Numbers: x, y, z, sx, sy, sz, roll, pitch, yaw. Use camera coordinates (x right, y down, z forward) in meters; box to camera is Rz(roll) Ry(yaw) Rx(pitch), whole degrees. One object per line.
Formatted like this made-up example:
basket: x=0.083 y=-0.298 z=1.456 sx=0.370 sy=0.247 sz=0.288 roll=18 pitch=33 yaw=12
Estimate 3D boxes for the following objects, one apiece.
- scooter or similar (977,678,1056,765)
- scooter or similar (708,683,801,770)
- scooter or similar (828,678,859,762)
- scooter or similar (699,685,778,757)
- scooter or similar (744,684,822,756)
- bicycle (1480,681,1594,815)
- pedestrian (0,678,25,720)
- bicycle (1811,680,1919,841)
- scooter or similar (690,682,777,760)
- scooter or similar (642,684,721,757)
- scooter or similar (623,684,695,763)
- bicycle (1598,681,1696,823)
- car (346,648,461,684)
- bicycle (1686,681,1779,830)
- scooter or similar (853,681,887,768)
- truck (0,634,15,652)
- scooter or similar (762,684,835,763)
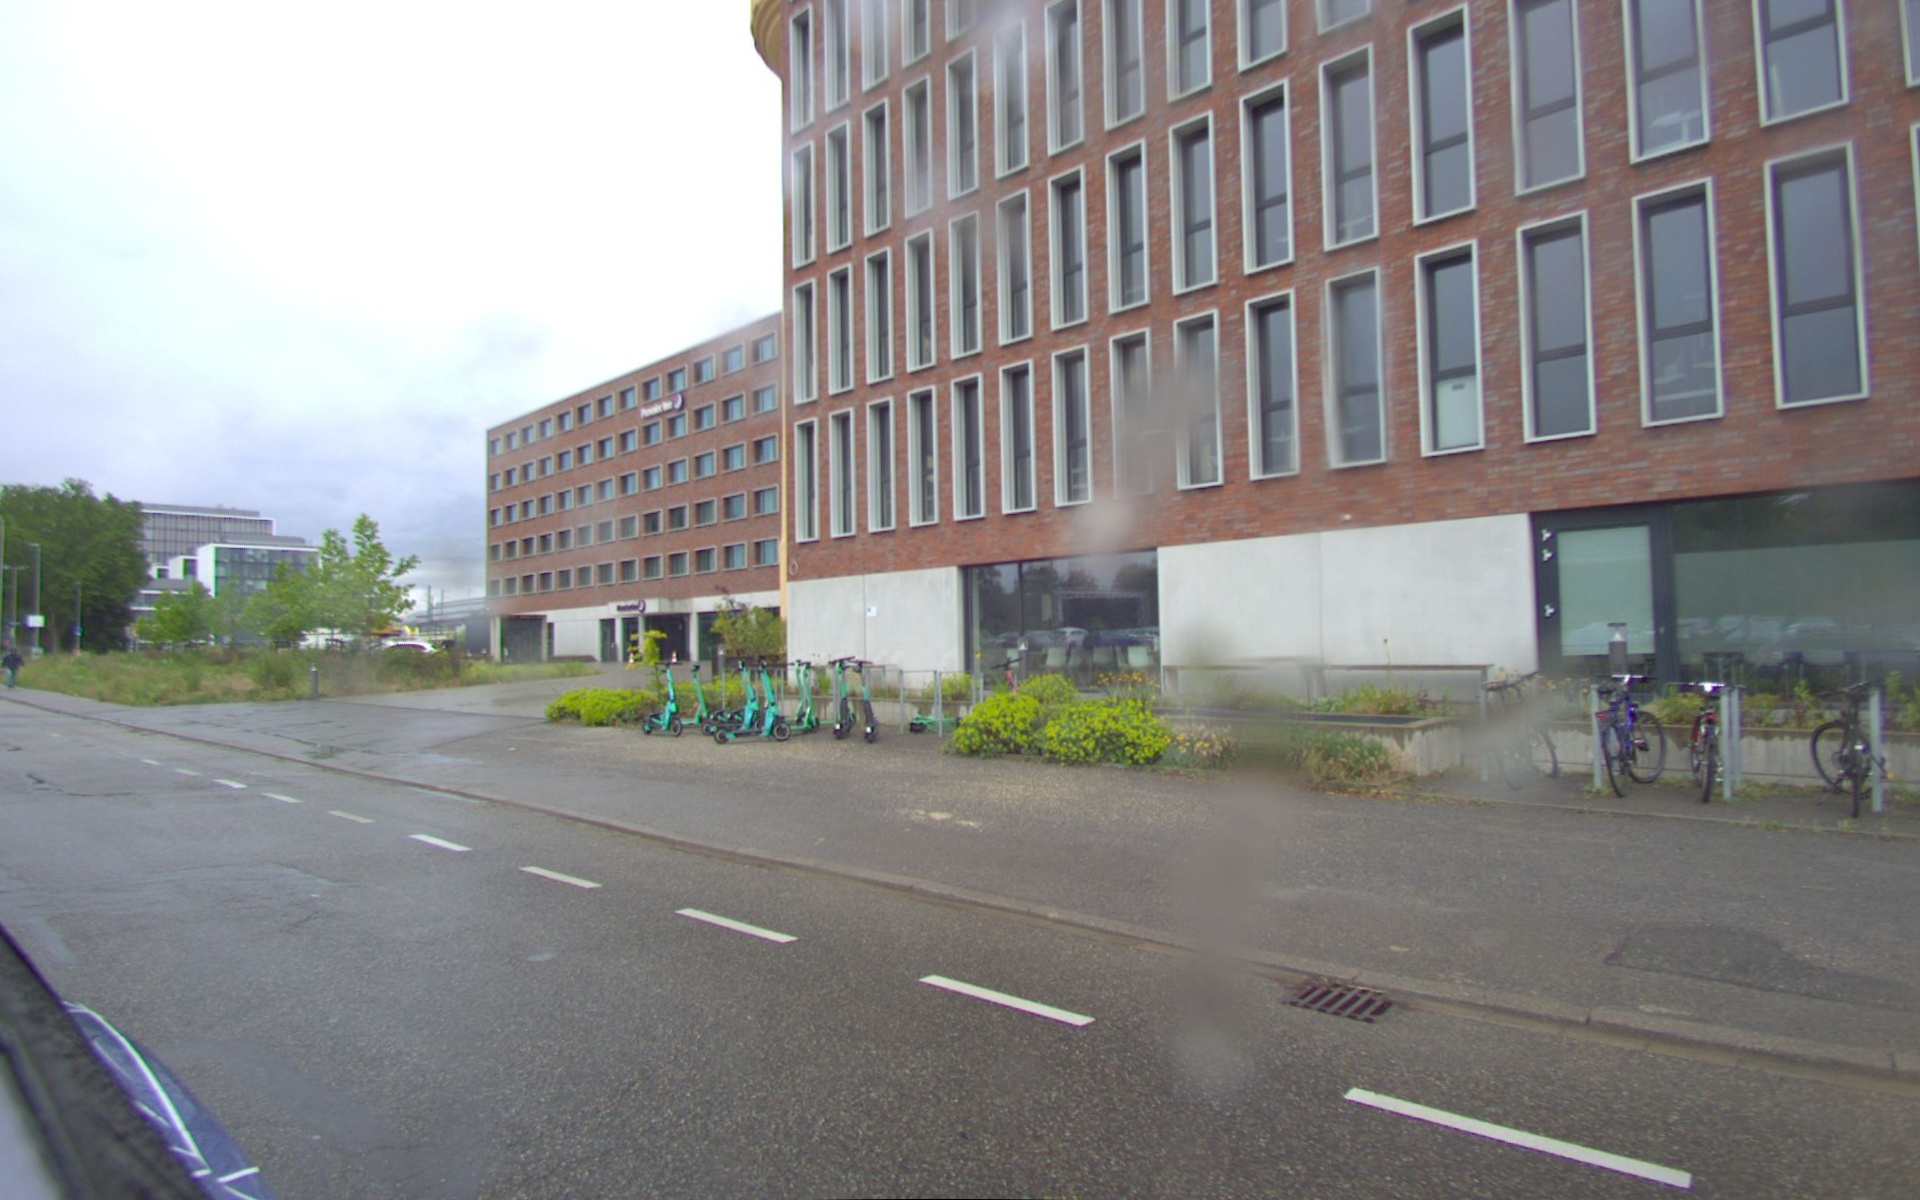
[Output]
scooter or similar: x=0.840 y=1.764 z=14.927 sx=1.211 sy=1.217 sz=0.418 roll=3 pitch=-6 yaw=-42
scooter or similar: x=-3.082 y=1.871 z=15.176 sx=1.298 sy=1.240 sz=0.469 roll=1 pitch=-5 yaw=-20
scooter or similar: x=-1.823 y=1.851 z=15.812 sx=0.460 sy=1.240 sz=1.209 roll=0 pitch=-4 yaw=-7
scooter or similar: x=-3.851 y=2.082 z=17.637 sx=1.301 sy=1.186 sz=0.468 roll=3 pitch=-6 yaw=-44
scooter or similar: x=-3.089 y=2.076 z=17.694 sx=1.301 sy=1.186 sz=0.468 roll=3 pitch=-6 yaw=-44
bicycle: x=5.719 y=1.391 z=9.971 sx=0.620 sy=1.085 sz=1.929 roll=-4 pitch=-3 yaw=39
pedestrian: x=-39.882 y=4.134 z=42.374 sx=1.026 sy=1.731 sz=0.899 roll=-3 pitch=-4 yaw=41
bicycle: x=7.493 y=1.263 z=8.418 sx=0.544 sy=1.085 sz=1.841 roll=-4 pitch=-3 yaw=39
scooter or similar: x=-3.698 y=1.969 z=16.532 sx=1.307 sy=1.240 sz=0.465 roll=-2 pitch=-4 yaw=12
scooter or similar: x=-4.913 y=2.121 z=17.901 sx=1.299 sy=1.240 sz=0.509 roll=0 pitch=-4 yaw=-11
scooter or similar: x=-4.991 y=2.026 z=16.772 sx=1.319 sy=1.240 sz=0.461 roll=-4 pitch=-5 yaw=38
bicycle: x=6.404 y=1.348 z=9.401 sx=0.544 sy=1.085 sz=1.841 roll=-4 pitch=-3 yaw=39
car: x=-27.103 y=3.198 z=49.420 sx=1.997 sy=1.654 sz=4.478 roll=-3 pitch=-4 yaw=38
bicycle: x=6.889 y=1.315 z=8.995 sx=0.544 sy=1.085 sz=1.841 roll=-4 pitch=-3 yaw=39
scooter or similar: x=-1.346 y=1.810 z=14.995 sx=0.460 sy=1.217 sz=1.209 roll=0 pitch=-4 yaw=-7
truck: x=-145.632 y=6.514 z=153.667 sx=6.970 sy=2.639 sz=2.063 roll=-3 pitch=-5 yaw=40
scooter or similar: x=-2.586 y=1.961 z=16.300 sx=0.465 sy=1.186 sz=1.308 roll=-3 pitch=-5 yaw=28
